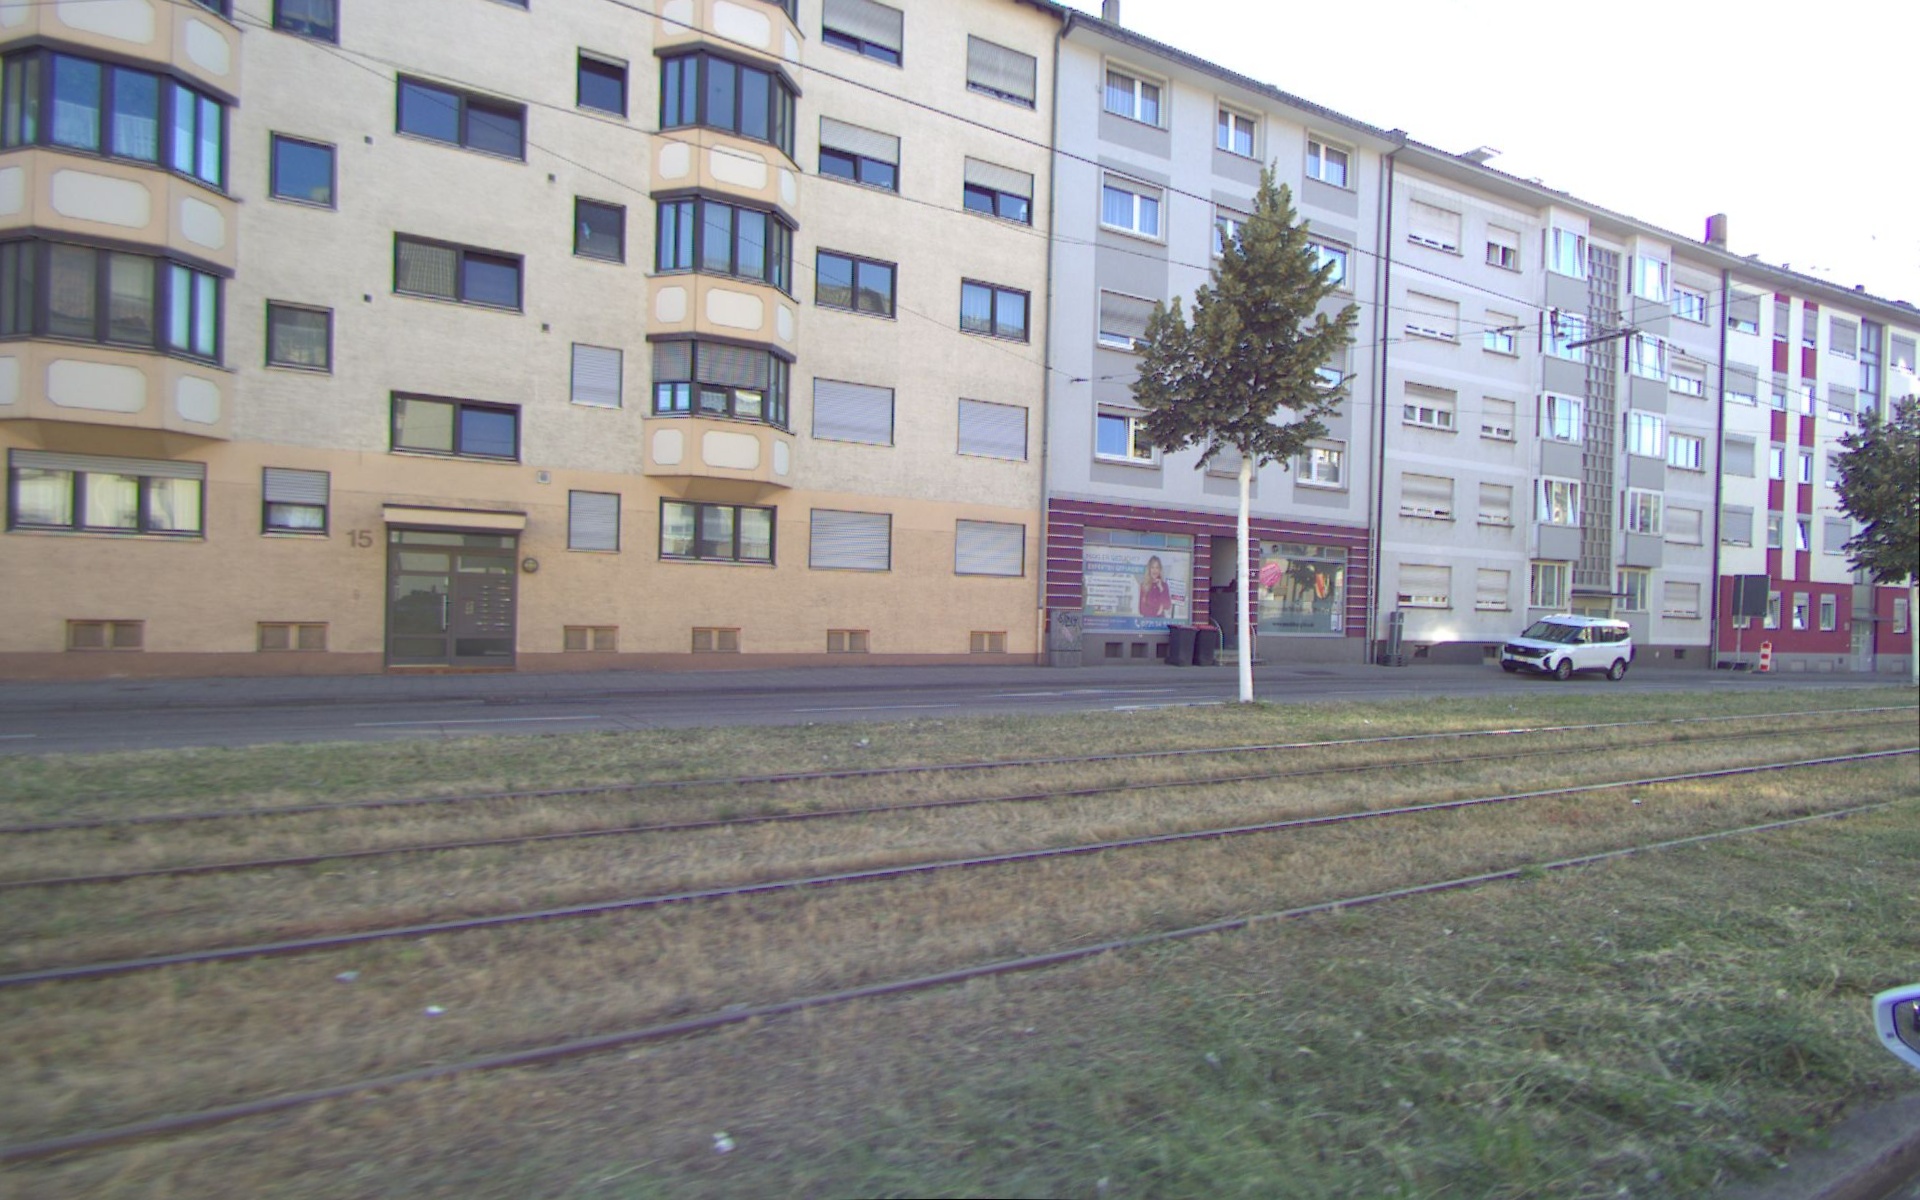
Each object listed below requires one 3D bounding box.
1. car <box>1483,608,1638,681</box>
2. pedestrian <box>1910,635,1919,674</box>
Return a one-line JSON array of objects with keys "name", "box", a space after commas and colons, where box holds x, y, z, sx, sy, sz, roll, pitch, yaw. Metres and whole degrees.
[{"name": "car", "box": [18.231, 1.361, 30.465, 4.366, 1.854, 1.859, 2, 6, -28]}, {"name": "pedestrian", "box": [43.178, 2.451, 45.016, 0.781, 1.712, 0.611, 2, -1, -25]}]
